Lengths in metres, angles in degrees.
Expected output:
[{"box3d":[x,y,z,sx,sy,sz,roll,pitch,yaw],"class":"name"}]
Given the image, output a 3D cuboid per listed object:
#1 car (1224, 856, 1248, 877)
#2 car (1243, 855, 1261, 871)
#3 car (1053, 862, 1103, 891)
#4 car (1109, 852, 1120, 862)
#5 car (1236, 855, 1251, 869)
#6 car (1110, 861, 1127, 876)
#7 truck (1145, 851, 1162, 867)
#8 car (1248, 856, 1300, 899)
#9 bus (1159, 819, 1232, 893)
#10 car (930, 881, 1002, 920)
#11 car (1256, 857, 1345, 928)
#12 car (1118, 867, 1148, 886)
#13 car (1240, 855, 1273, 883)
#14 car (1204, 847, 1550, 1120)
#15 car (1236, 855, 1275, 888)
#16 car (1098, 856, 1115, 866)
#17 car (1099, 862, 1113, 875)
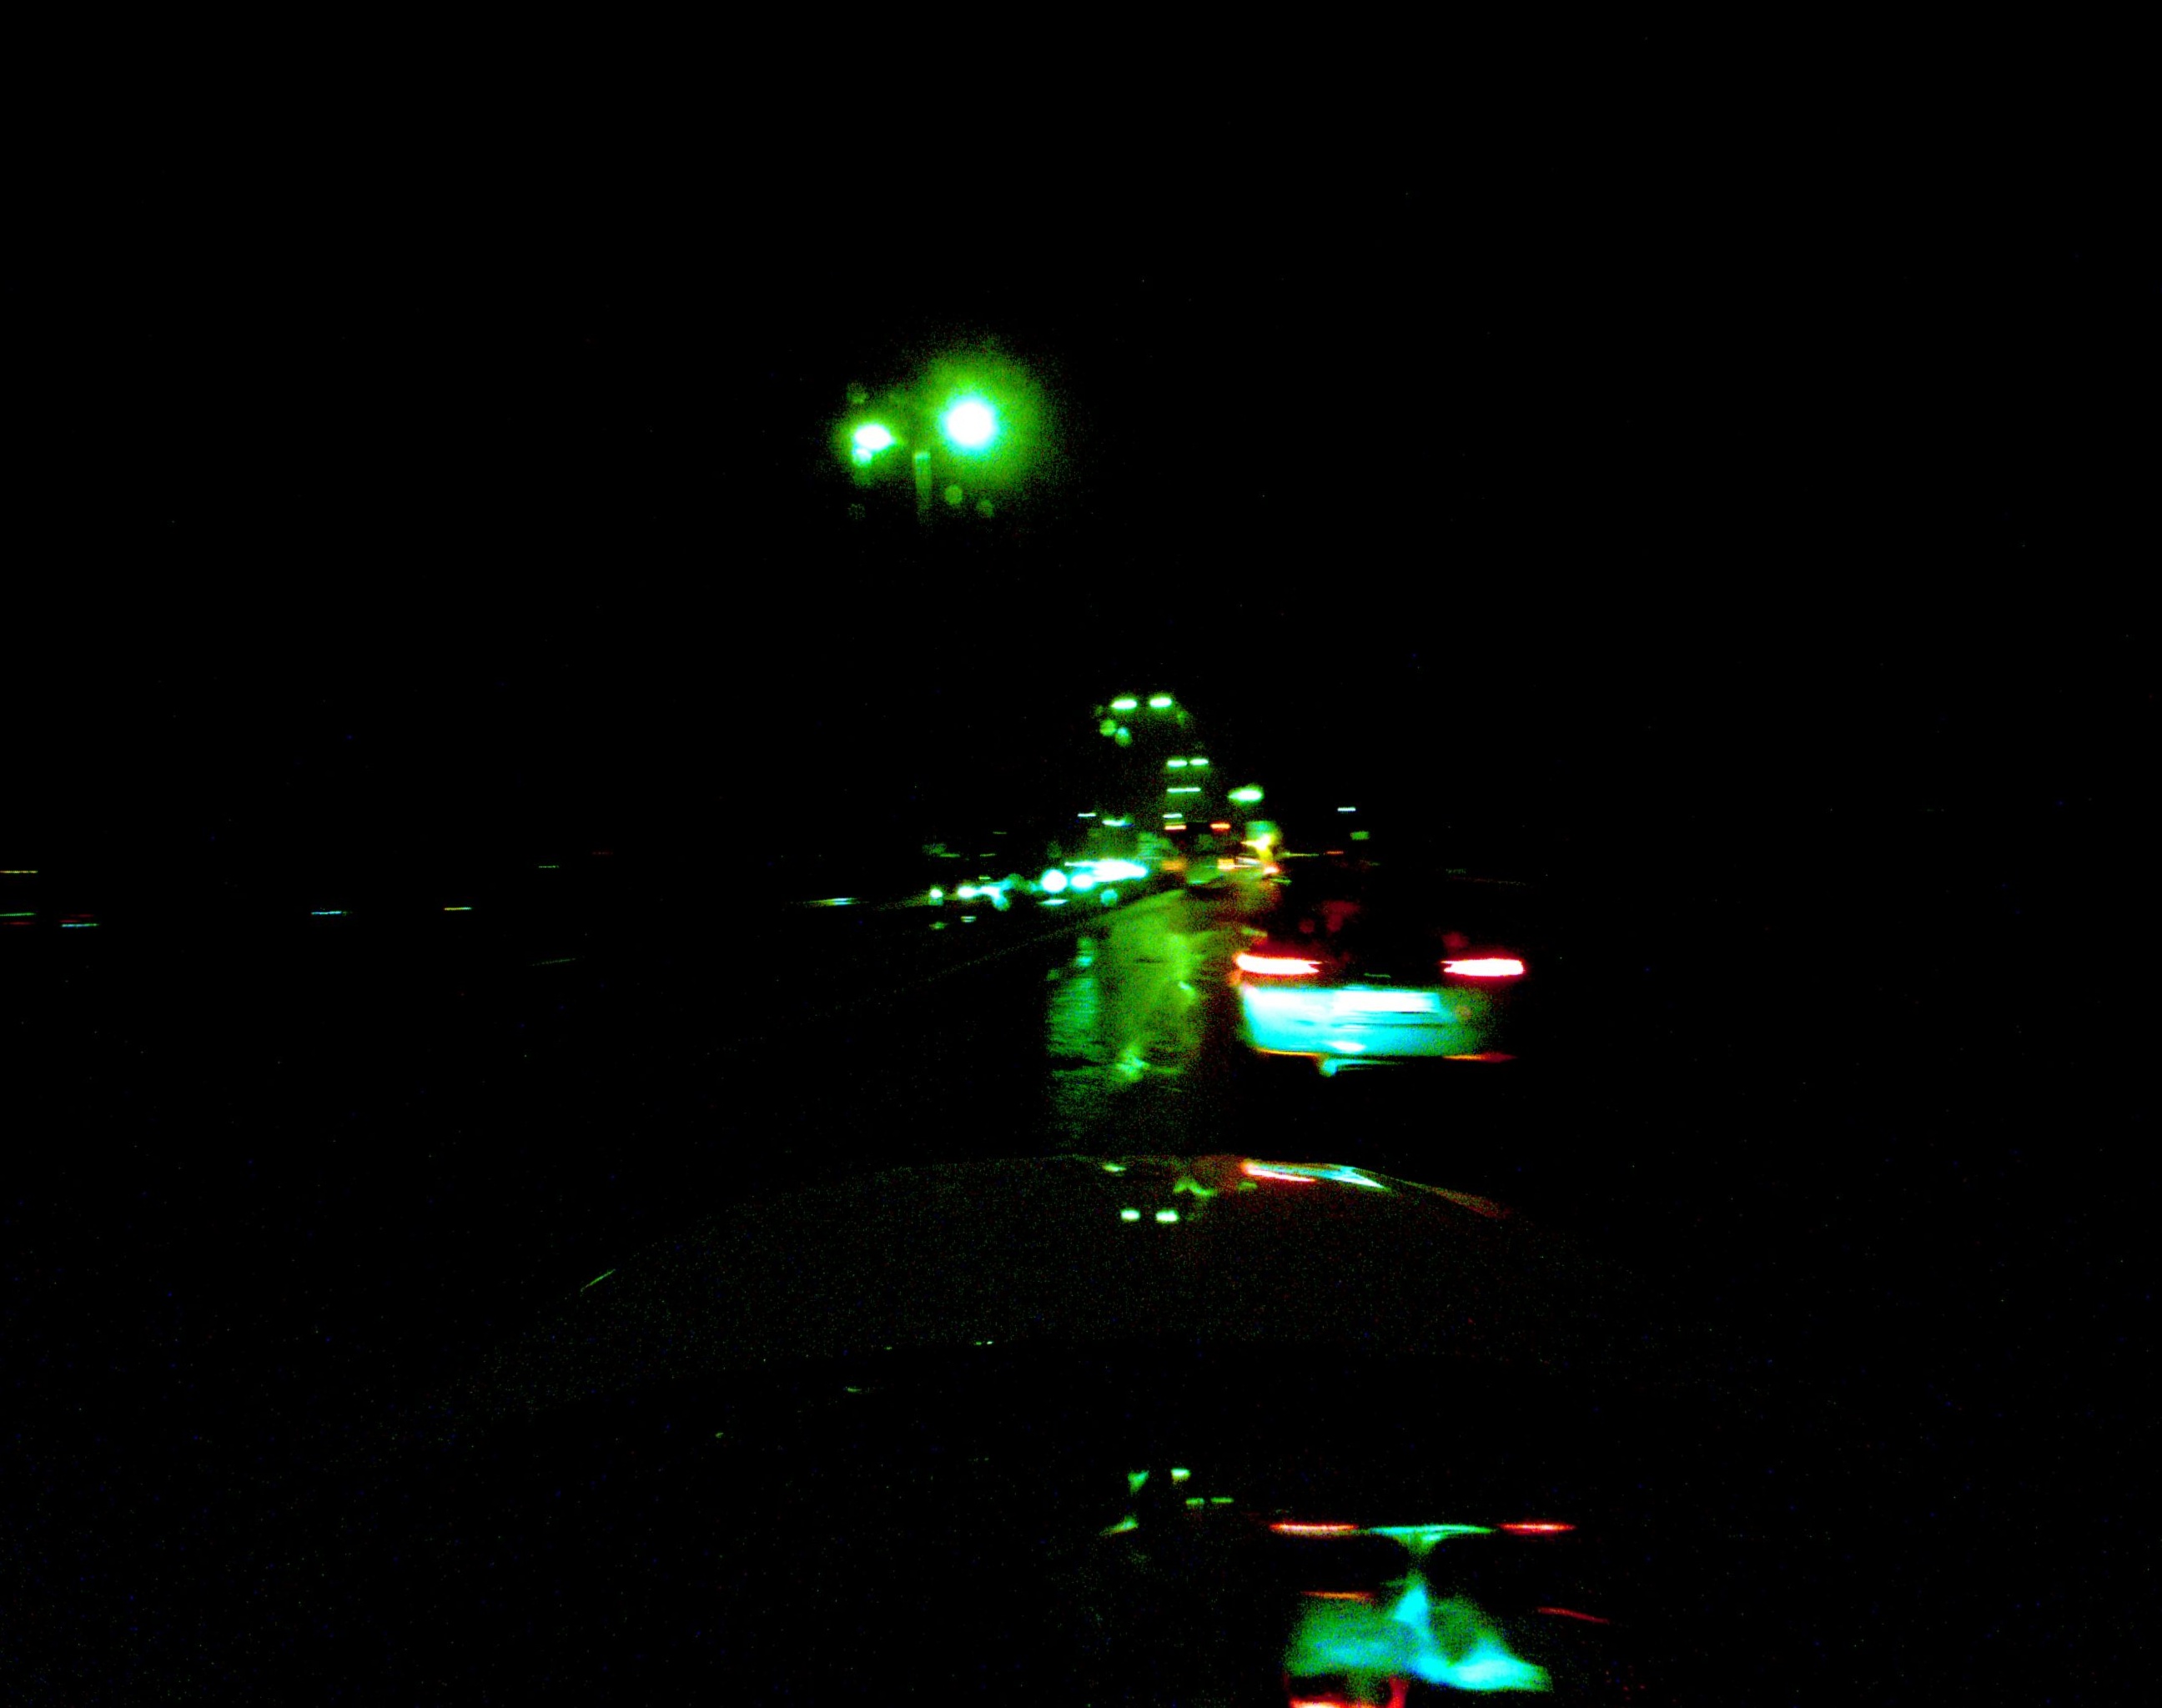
[{"box3d":[12.175,0.975,64.043,1.768,1.543,3.886,-1,-1,11],"class":"car"},{"box3d":[18.424,0.922,87.877,1.808,1.590,3.788,-3,-1,11],"class":"car"},{"box3d":[-0.090,1.165,43.482,1.599,1.382,4.763,-2,0,13],"class":"car"},{"box3d":[7.029,0.637,171.609,2.114,2.014,3.999,-1,-1,0],"class":"car"},{"box3d":[20.432,1.013,102.622,1.808,1.590,3.788,-3,-1,11],"class":"car"},{"box3d":[5.132,1.975,112.144,1.983,2.014,4.007,-1,-1,7],"class":"car"},{"box3d":[12.244,0.754,137.449,1.854,2.392,4.768,-4,2,-7],"class":"truck"},{"box3d":[7.519,0.869,31.945,1.729,1.565,3.787,-1,0,10],"class":"car"},{"box3d":[5.515,0.107,37.953,2.797,3.024,8.714,-2,-1,11],"class":"bus"},{"box3d":[-4.977,2.019,35.845,1.599,1.382,4.179,-5,-1,13],"class":"car"},{"box3d":[5.041,0.814,19.208,1.720,1.449,4.740,-1,0,11],"class":"car"},{"box3d":[4.649,1.933,71.569,1.843,1.476,4.795,-3,-1,13],"class":"car"},{"box3d":[11.037,0.916,51.495,1.808,1.590,3.787,-3,-1,10],"class":"car"},{"box3d":[2.169,0.742,6.860,1.809,1.484,4.584,-2,-1,13],"class":"car"},{"box3d":[9.283,0.891,43.488,1.808,1.590,3.787,-3,-1,10],"class":"car"},{"box3d":[5.075,1.357,162.913,2.003,2.014,3.967,0,-1,-24],"class":"car"},{"box3d":[4.033,2.305,131.173,1.983,2.014,4.007,-1,-1,7],"class":"car"}]
